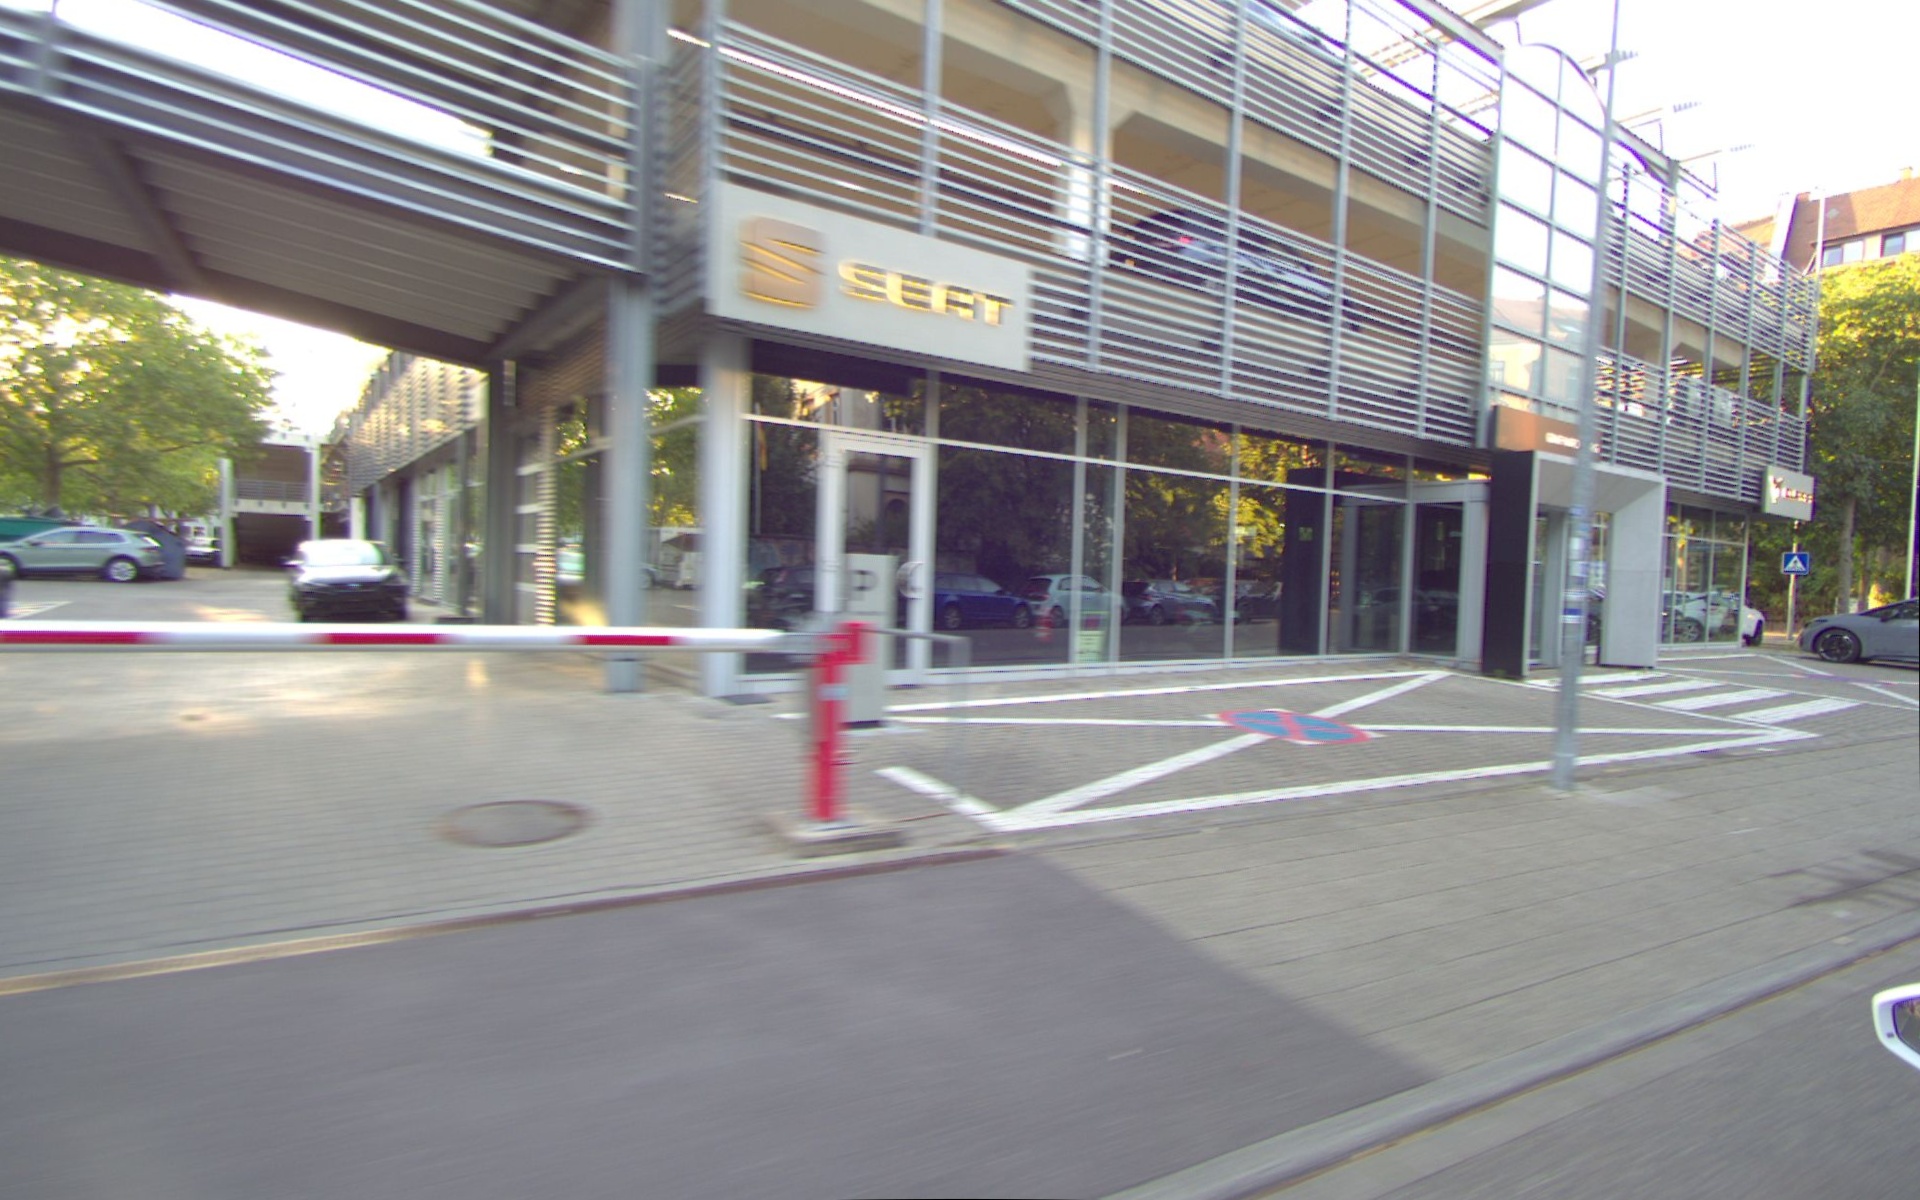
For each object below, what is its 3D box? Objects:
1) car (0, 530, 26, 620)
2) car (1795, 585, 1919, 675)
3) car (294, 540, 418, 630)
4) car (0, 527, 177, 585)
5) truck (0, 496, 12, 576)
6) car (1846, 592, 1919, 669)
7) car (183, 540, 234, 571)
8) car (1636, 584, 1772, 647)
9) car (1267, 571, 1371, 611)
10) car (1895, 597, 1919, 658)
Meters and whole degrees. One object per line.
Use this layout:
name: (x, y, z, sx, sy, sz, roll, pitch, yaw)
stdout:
car: (-17.277, -0.417, 16.520, 1.837, 1.575, 3.963, 0, 2, -28)
car: (19.623, 0.641, 20.040, 1.891, 1.640, 4.106, 0, 4, -31)
car: (-11.469, -0.356, 18.986, 1.768, 1.493, 3.805, -3, 4, -33)
car: (-26.954, -1.347, 30.872, 4.342, 1.595, 2.282, 1, 2, -34)
truck: (-31.259, -2.022, 30.413, 2.418, 2.603, 6.877, 1, 2, -32)
car: (22.006, 0.702, 21.621, 1.745, 1.640, 4.045, 0, 2, -31)
car: (-38.067, -2.294, 50.948, 1.768, 1.493, 3.805, -3, 4, -33)
car: (20.296, 0.408, 27.358, 4.181, 1.571, 1.690, 1, 2, -35)
car: (15.977, -0.430, 44.927, 1.900, 1.495, 4.020, -1, 4, -33)
car: (25.648, 0.807, 24.320, 1.900, 1.495, 4.020, -1, 4, -33)
